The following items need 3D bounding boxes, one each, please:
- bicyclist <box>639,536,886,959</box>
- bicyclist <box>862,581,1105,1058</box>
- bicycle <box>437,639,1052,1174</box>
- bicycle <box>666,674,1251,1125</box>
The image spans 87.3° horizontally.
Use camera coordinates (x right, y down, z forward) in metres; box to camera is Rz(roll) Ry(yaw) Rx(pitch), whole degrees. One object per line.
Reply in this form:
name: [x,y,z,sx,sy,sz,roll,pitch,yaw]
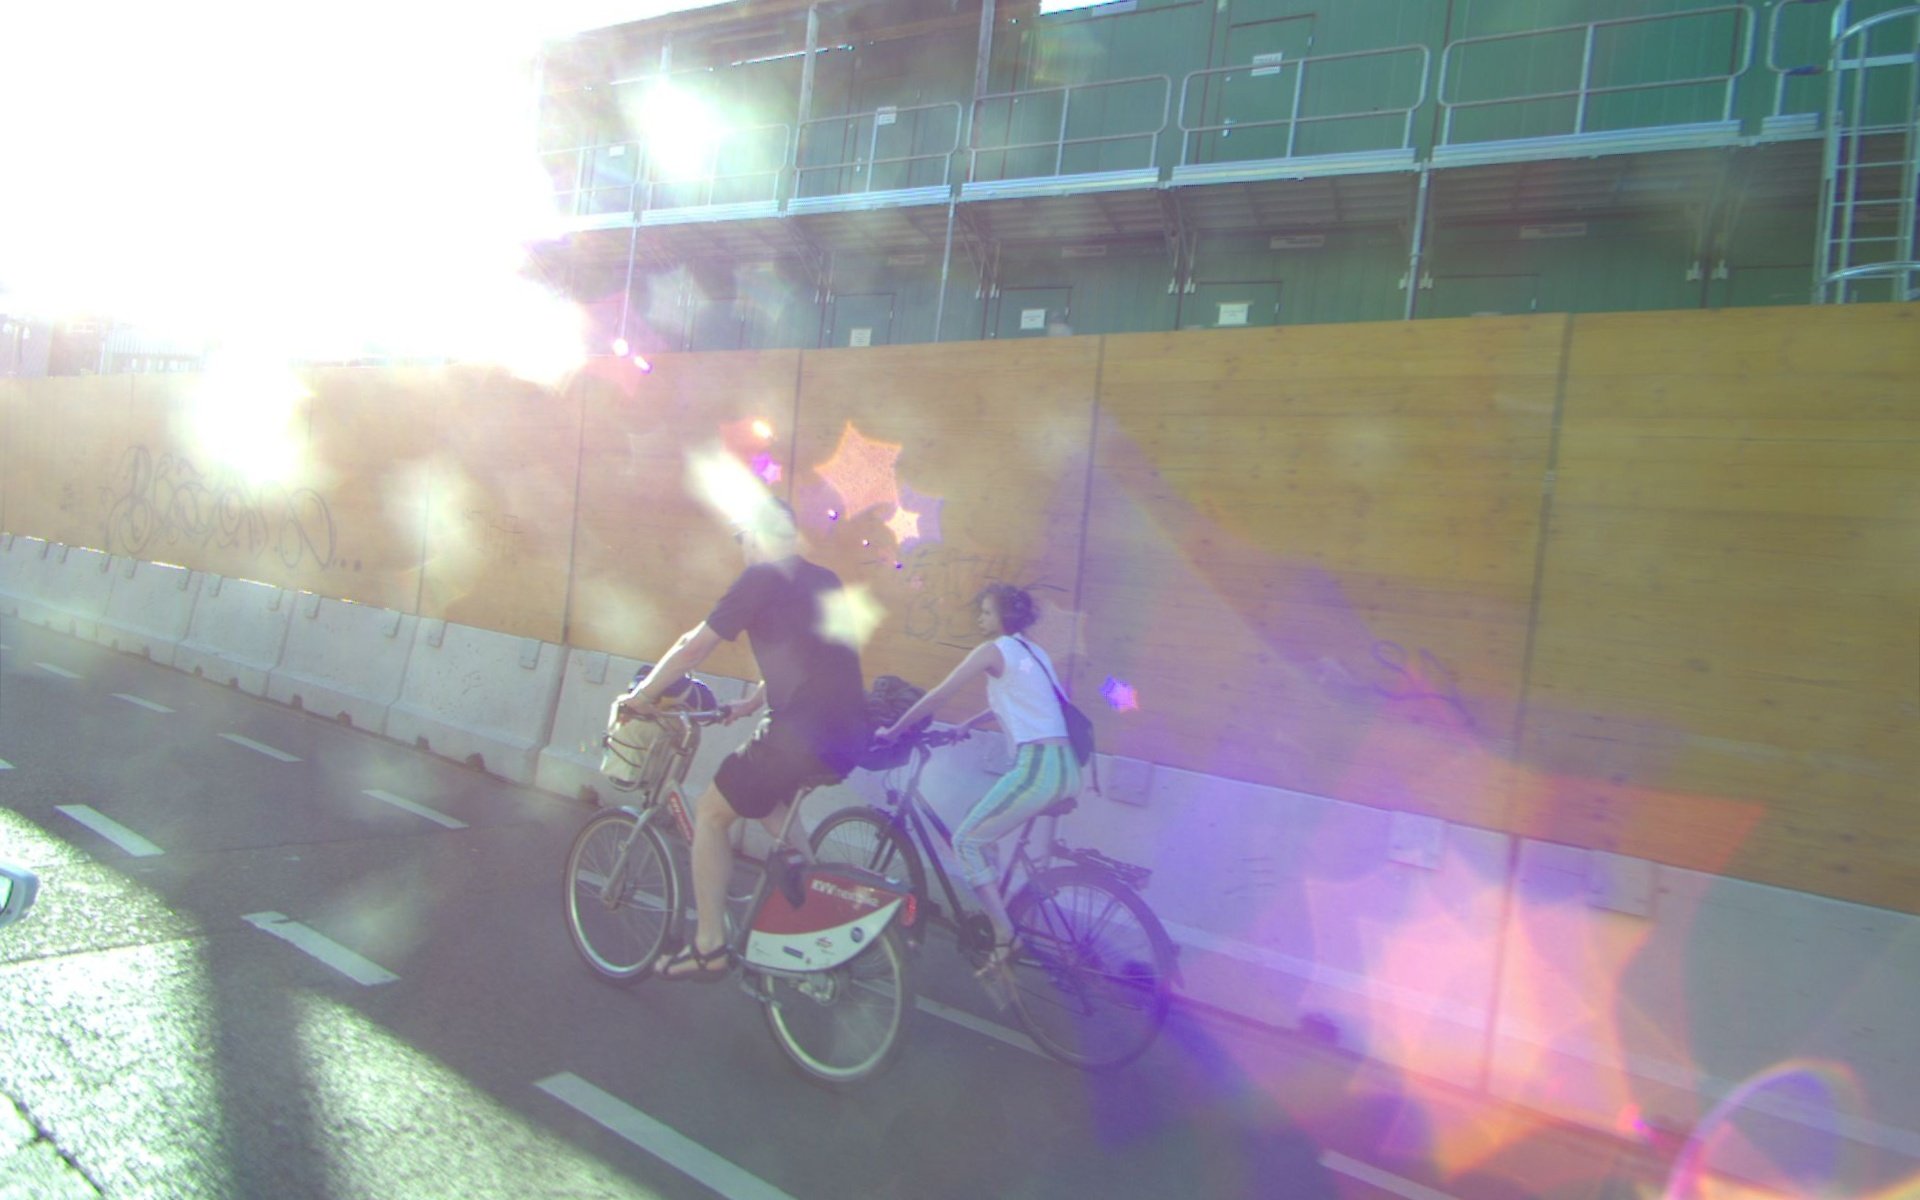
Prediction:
bicyclist: [-0.642,0.462,3.387,0.347,1.253,0.652,7,0,30]
bicyclist: [0.102,0.787,3.903,0.566,1.633,0.557,7,1,30]
bicycle: [-0.878,0.875,3.588,2.240,1.168,0.668,7,-2,35]
bicycle: [-0.098,1.017,4.005,2.237,1.141,0.558,7,0,29]
